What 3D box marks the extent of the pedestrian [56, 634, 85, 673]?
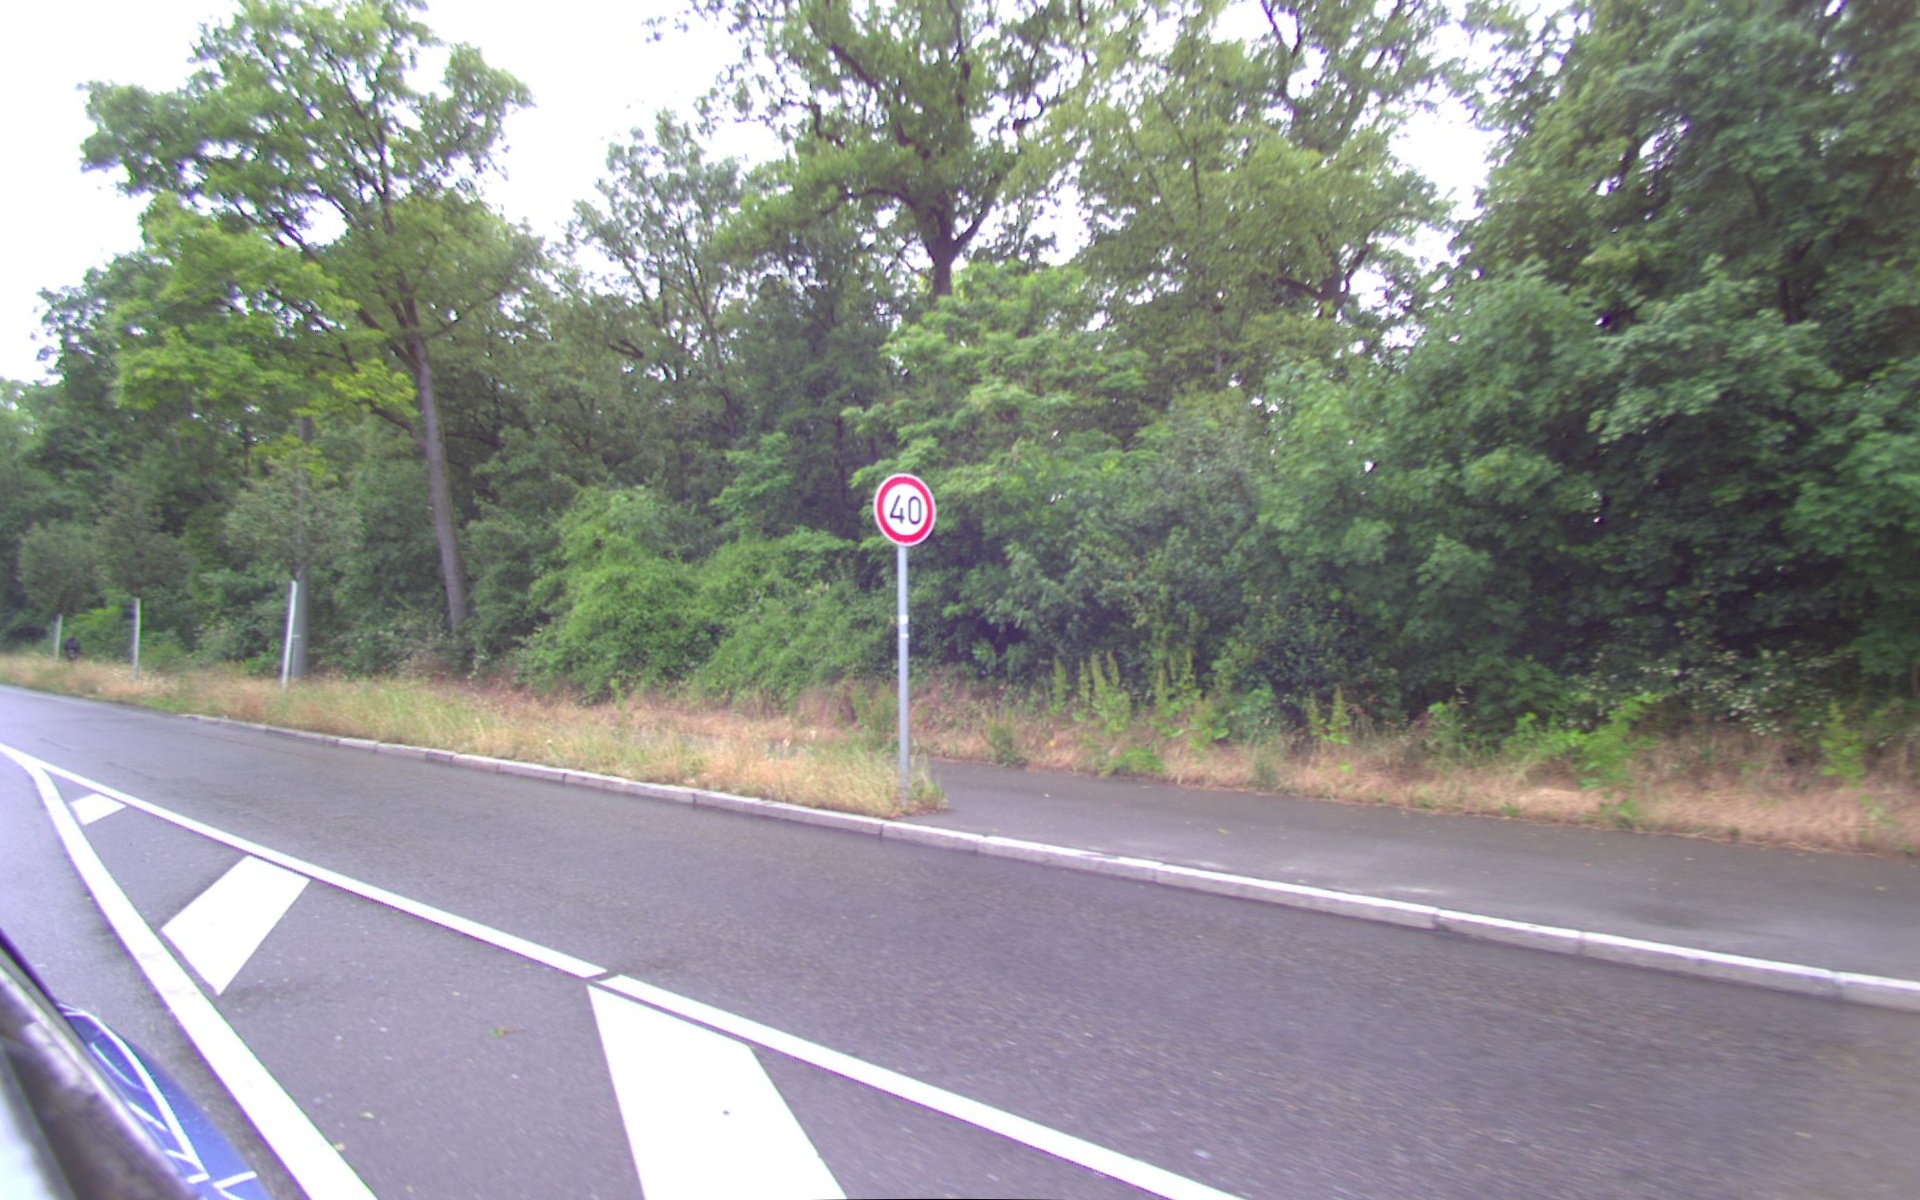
[{"bbox_3d":[-37.600,2.242,42.792,0.731,1.620,0.773,-2,-3,38],"label":"pedestrian"}]
